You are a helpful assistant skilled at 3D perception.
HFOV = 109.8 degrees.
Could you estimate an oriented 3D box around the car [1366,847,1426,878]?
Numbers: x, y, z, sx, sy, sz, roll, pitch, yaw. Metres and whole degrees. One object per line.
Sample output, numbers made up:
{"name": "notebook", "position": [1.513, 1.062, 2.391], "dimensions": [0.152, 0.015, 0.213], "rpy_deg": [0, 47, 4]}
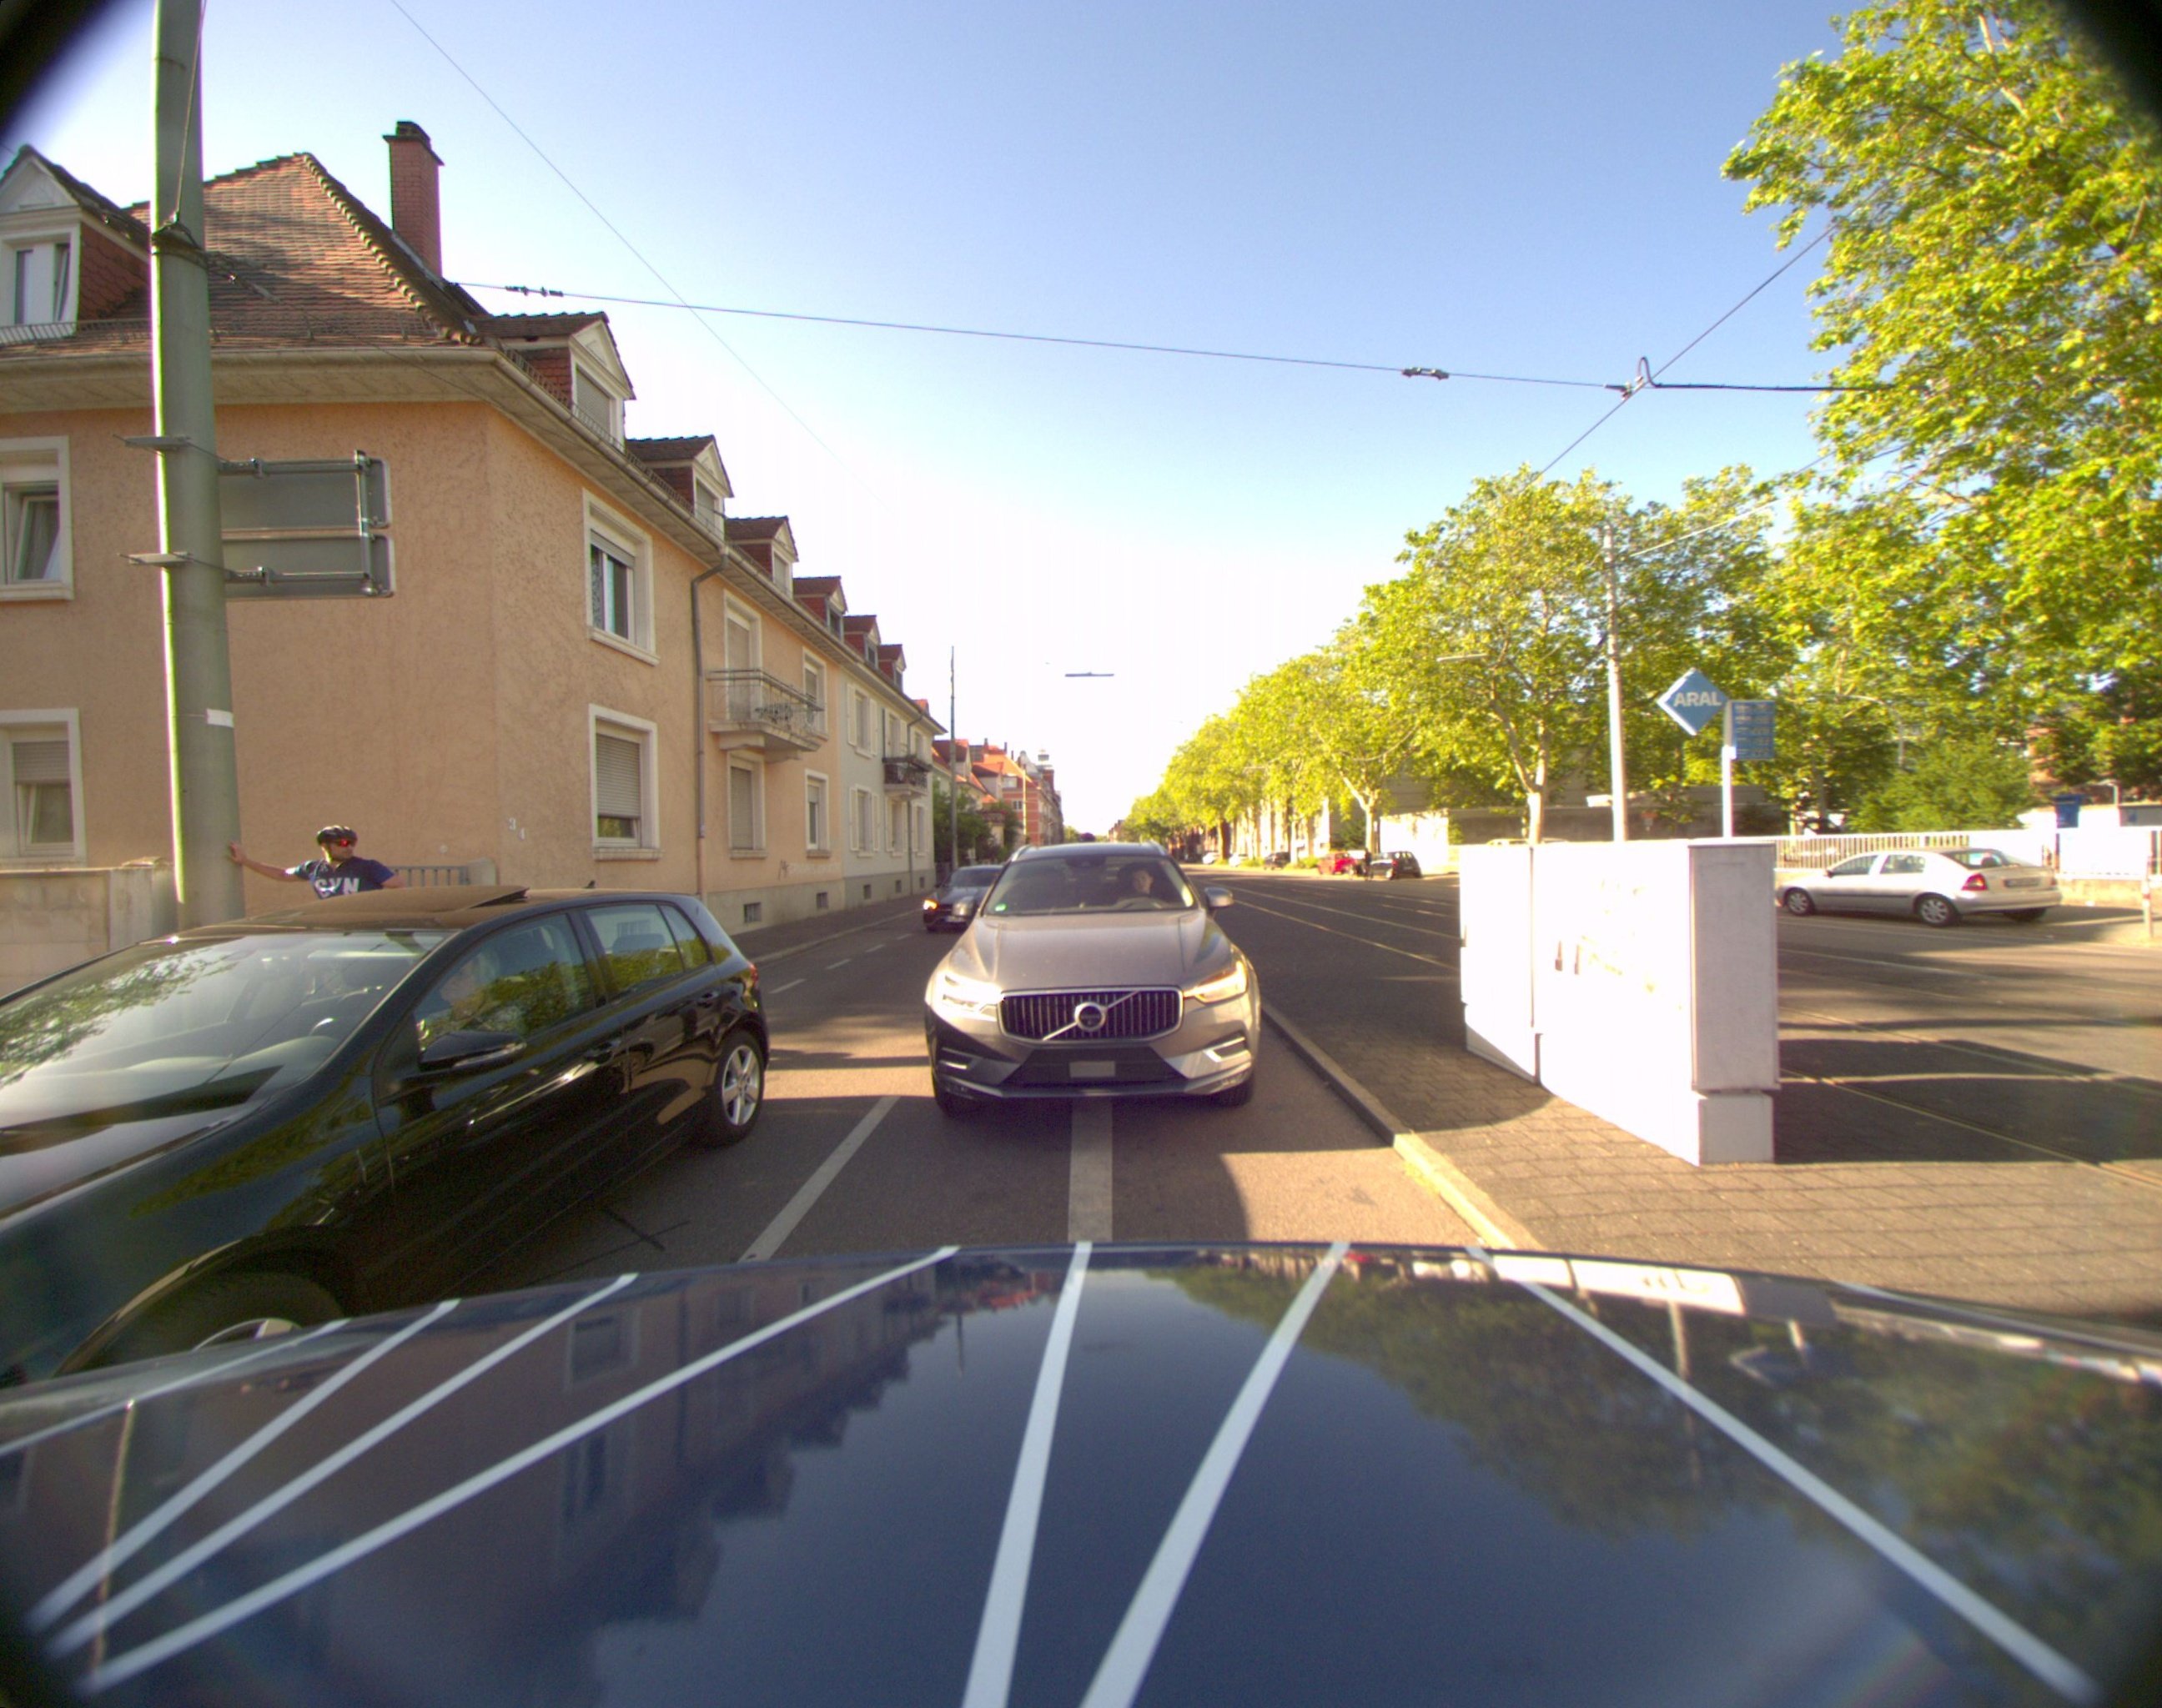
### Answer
{"name": "car", "position": [16.833, 0.444, 40.771], "dimensions": [1.723, 1.436, 3.769], "rpy_deg": [-4, 1, 3]}

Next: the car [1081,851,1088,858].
{"name": "car", "position": [0.967, 0.084, 206.995], "dimensions": [1.851, 1.640, 3.999], "rpy_deg": [-2, 1, 1]}

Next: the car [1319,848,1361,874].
{"name": "car", "position": [16.966, 0.420, 49.943], "dimensions": [1.661, 1.486, 3.377], "rpy_deg": [-4, 1, 3]}

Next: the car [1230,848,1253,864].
{"name": "car", "position": [17.616, 0.239, 83.456], "dimensions": [1.754, 1.532, 3.878], "rpy_deg": [-4, 1, 3]}

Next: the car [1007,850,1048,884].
{"name": "car", "position": [-2.909, 0.685, 42.383], "dimensions": [1.825, 1.701, 4.334], "rpy_deg": [-2, 1, 1]}

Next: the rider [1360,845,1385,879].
{"name": "rider", "position": [14.552, 0.396, 37.974], "dimensions": [0.725, 1.639, 1.106], "rpy_deg": [-2, 1, -4]}

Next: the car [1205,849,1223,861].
{"name": "car", "position": [17.604, 0.092, 100.669], "dimensions": [1.661, 1.452, 3.730], "rpy_deg": [-4, 1, 3]}

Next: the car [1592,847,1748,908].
{"name": "car", "position": [16.416, 0.592, 21.420], "dimensions": [1.619, 1.436, 3.606], "rpy_deg": [-4, 1, 3]}

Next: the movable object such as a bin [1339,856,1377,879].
{"name": "movable object such as a bin", "position": [14.331, 0.673, 39.349], "dimensions": [1.178, 1.097, 1.834], "rpy_deg": [-2, 1, -4]}

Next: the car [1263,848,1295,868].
{"name": "car", "position": [17.143, 0.322, 65.955], "dimensions": [1.754, 1.582, 3.878], "rpy_deg": [-4, 1, 3]}

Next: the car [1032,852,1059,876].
{"name": "car", "position": [-2.785, 0.769, 60.902], "dimensions": [1.825, 1.701, 4.334], "rpy_deg": [-2, 1, 1]}

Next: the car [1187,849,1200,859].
{"name": "car", "position": [18.549, 0.050, 125.546], "dimensions": [1.661, 1.452, 3.730], "rpy_deg": [-4, 1, 3]}

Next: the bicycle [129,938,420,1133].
{"name": "bicycle", "position": [-5.891, 1.261, 5.703], "dimensions": [0.556, 1.069, 1.624], "rpy_deg": [2, 0, -7]}

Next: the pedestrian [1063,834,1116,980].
{"name": "pedestrian", "position": [0.112, 0.671, 9.944], "dimensions": [0.609, 1.832, 0.599], "rpy_deg": [-2, 1, 1]}

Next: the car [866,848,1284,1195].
{"name": "car", "position": [0.121, 0.796, 5.778], "dimensions": [1.924, 1.579, 4.387], "rpy_deg": [-2, 1, 4]}

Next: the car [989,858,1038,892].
{"name": "car", "position": [-3.233, 0.960, 37.128], "dimensions": [1.825, 1.422, 4.334], "rpy_deg": [-2, 1, 1]}

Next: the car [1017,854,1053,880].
{"name": "car", "position": [-2.800, 0.758, 47.171], "dimensions": [1.825, 1.424, 4.334], "rpy_deg": [-2, 1, 1]}

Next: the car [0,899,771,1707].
{"name": "car", "position": [-2.796, 1.042, 2.619], "dimensions": [1.717, 1.430, 3.990], "rpy_deg": [-2, 1, 1]}

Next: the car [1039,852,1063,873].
{"name": "car", "position": [-2.598, 0.690, 67.268], "dimensions": [1.825, 1.701, 4.334], "rpy_deg": [-2, 1, 1]}

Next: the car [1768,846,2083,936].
{"name": "car", "position": [16.198, 0.627, 14.941], "dimensions": [1.687, 1.358, 3.989], "rpy_deg": [-6, 0, 1]}

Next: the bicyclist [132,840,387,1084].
{"name": "bicyclist", "position": [-6.064, 0.762, 5.673], "dimensions": [1.021, 1.684, 0.729], "rpy_deg": [2, 0, -7]}

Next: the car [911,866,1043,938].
{"name": "car", "position": [-2.283, 1.035, 18.011], "dimensions": [1.824, 1.422, 4.493], "rpy_deg": [-2, -1, 9]}
